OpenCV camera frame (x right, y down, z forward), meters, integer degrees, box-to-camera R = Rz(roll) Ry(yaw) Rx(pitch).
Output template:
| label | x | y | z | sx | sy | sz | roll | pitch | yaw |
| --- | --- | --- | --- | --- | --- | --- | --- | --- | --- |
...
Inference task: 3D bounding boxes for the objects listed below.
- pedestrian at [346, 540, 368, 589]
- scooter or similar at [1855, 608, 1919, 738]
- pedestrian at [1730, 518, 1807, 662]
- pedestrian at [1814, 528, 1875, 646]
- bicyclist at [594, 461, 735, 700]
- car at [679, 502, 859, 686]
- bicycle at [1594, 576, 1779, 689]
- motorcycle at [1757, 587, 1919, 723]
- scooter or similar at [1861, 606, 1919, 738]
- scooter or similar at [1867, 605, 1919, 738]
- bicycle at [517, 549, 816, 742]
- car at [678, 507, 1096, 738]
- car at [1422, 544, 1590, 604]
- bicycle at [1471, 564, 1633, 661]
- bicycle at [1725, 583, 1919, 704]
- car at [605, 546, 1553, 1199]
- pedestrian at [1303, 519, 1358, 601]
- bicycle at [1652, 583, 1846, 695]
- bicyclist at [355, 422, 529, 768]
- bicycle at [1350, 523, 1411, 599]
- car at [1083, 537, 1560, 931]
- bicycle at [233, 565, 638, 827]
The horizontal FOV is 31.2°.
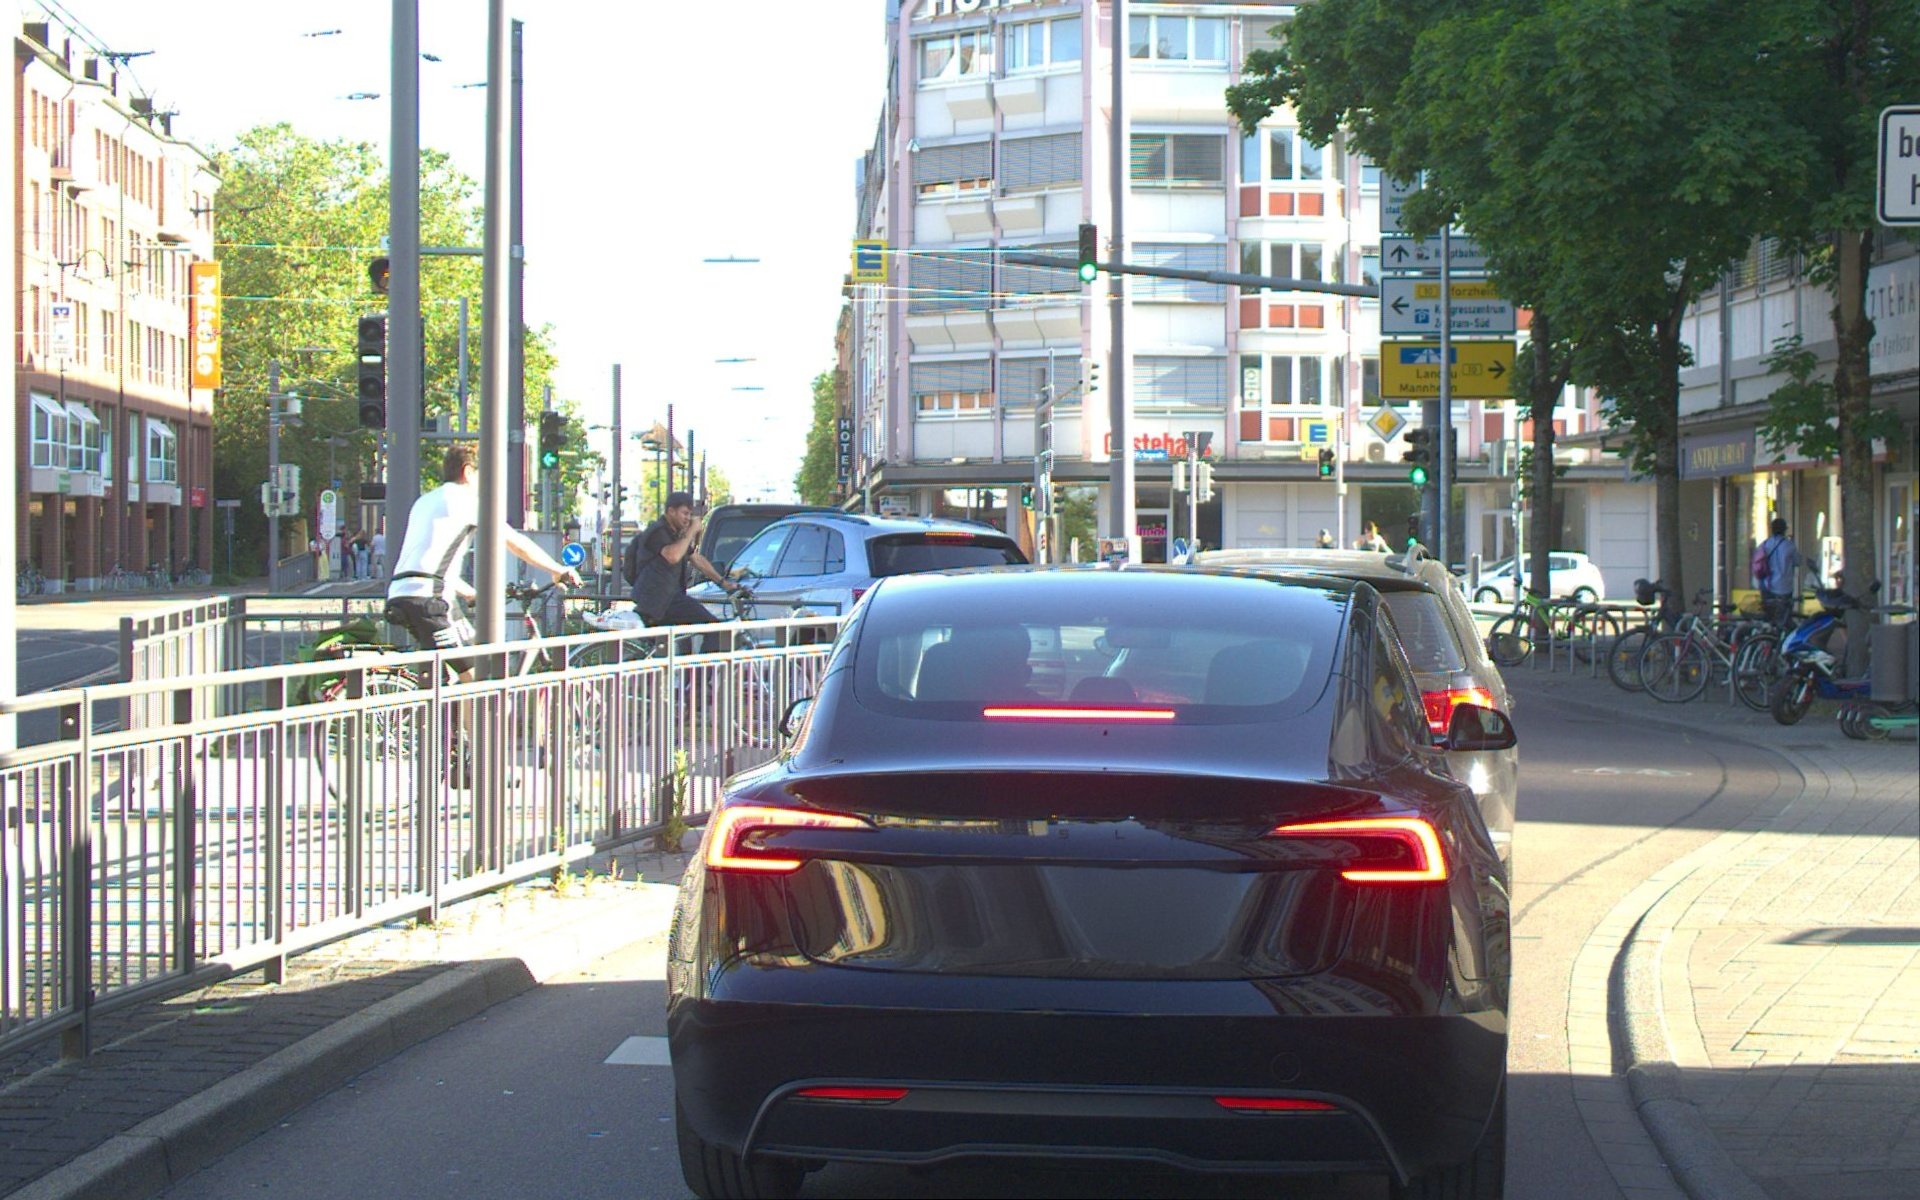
| label | x | y | z | sx | sy | sz | roll | pitch | yaw |
| --- | --- | --- | --- | --- | --- | --- | --- | --- | --- |
| pedestrian | -19.145 | -1.127 | 109.128 | 0.583 | 1.525 | 0.638 | 1 | 0 | -18 |
| scooter or similar | 7.619 | 0.577 | 27.315 | 0.964 | 1.023 | 0.160 | 0 | 1 | 3 |
| pedestrian | 9.804 | -0.119 | 41.695 | 0.843 | 1.715 | 0.879 | 1 | 0 | 11 |
| pedestrian | 10.743 | -0.162 | 41.764 | 0.645 | 1.417 | 0.621 | 1 | 0 | 10 |
| bicyclist | -1.909 | -0.126 | 22.217 | 0.681 | 1.518 | 0.635 | 1 | 0 | -31 |
| car | -1.776 | -0.073 | 32.332 | 1.572 | 1.612 | 3.784 | 1 | 1 | -3 |
| bicycle | 7.476 | 0.329 | 35.384 | 1.809 | 1.147 | 0.435 | 0 | 0 | -4 |
| motorcycle | 7.724 | 0.464 | 29.176 | 1.787 | 1.126 | 0.504 | 1 | 0 | -3 |
| scooter or similar | 7.613 | 0.570 | 27.115 | 0.956 | 1.035 | 0.160 | 0 | 1 | 3 |
| scooter or similar | 7.607 | 0.560 | 26.917 | 0.964 | 1.039 | 0.160 | 0 | 1 | 3 |
| bicycle | -1.889 | 0.287 | 22.231 | 1.820 | 1.207 | 0.642 | 0 | 1 | -31 |
| car | -0.626 | 0.138 | 26.252 | 1.839 | 1.629 | 3.486 | 1 | 1 | -27 |
| car | 13.710 | -0.651 | 86.415 | 3.840 | 1.427 | 1.804 | 0 | -1 | -5 |
| bicycle | 7.305 | 0.148 | 42.441 | 1.890 | 1.152 | 0.480 | -1 | 0 | 0 |
| bicycle | 7.917 | 0.390 | 31.294 | 1.849 | 1.052 | 0.399 | -1 | 1 | -11 |
| car | 0.363 | 0.623 | 8.523 | 1.791 | 1.446 | 3.939 | 1 | 2 | 4 |
| pedestrian | 7.257 | -0.790 | 67.339 | 0.779 | 1.571 | 0.868 | 1 | 2 | -15 |
| bicycle | 7.647 | 0.376 | 33.349 | 1.767 | 1.053 | 0.458 | 1 | 0 | 5 |
| bicyclist | -2.490 | -0.024 | 16.516 | 0.681 | 1.625 | 0.579 | 1 | 0 | -24 |
| bicycle | 8.245 | -0.771 | 67.405 | 0.582 | 1.458 | 1.686 | 0 | 1 | -16 |
| car | 1.523 | 0.460 | 15.199 | 1.765 | 1.439 | 4.528 | 1 | 1 | 4 |
| bicycle | -2.514 | 0.447 | 16.506 | 1.819 | 1.207 | 0.582 | 1 | 0 | -24 |
